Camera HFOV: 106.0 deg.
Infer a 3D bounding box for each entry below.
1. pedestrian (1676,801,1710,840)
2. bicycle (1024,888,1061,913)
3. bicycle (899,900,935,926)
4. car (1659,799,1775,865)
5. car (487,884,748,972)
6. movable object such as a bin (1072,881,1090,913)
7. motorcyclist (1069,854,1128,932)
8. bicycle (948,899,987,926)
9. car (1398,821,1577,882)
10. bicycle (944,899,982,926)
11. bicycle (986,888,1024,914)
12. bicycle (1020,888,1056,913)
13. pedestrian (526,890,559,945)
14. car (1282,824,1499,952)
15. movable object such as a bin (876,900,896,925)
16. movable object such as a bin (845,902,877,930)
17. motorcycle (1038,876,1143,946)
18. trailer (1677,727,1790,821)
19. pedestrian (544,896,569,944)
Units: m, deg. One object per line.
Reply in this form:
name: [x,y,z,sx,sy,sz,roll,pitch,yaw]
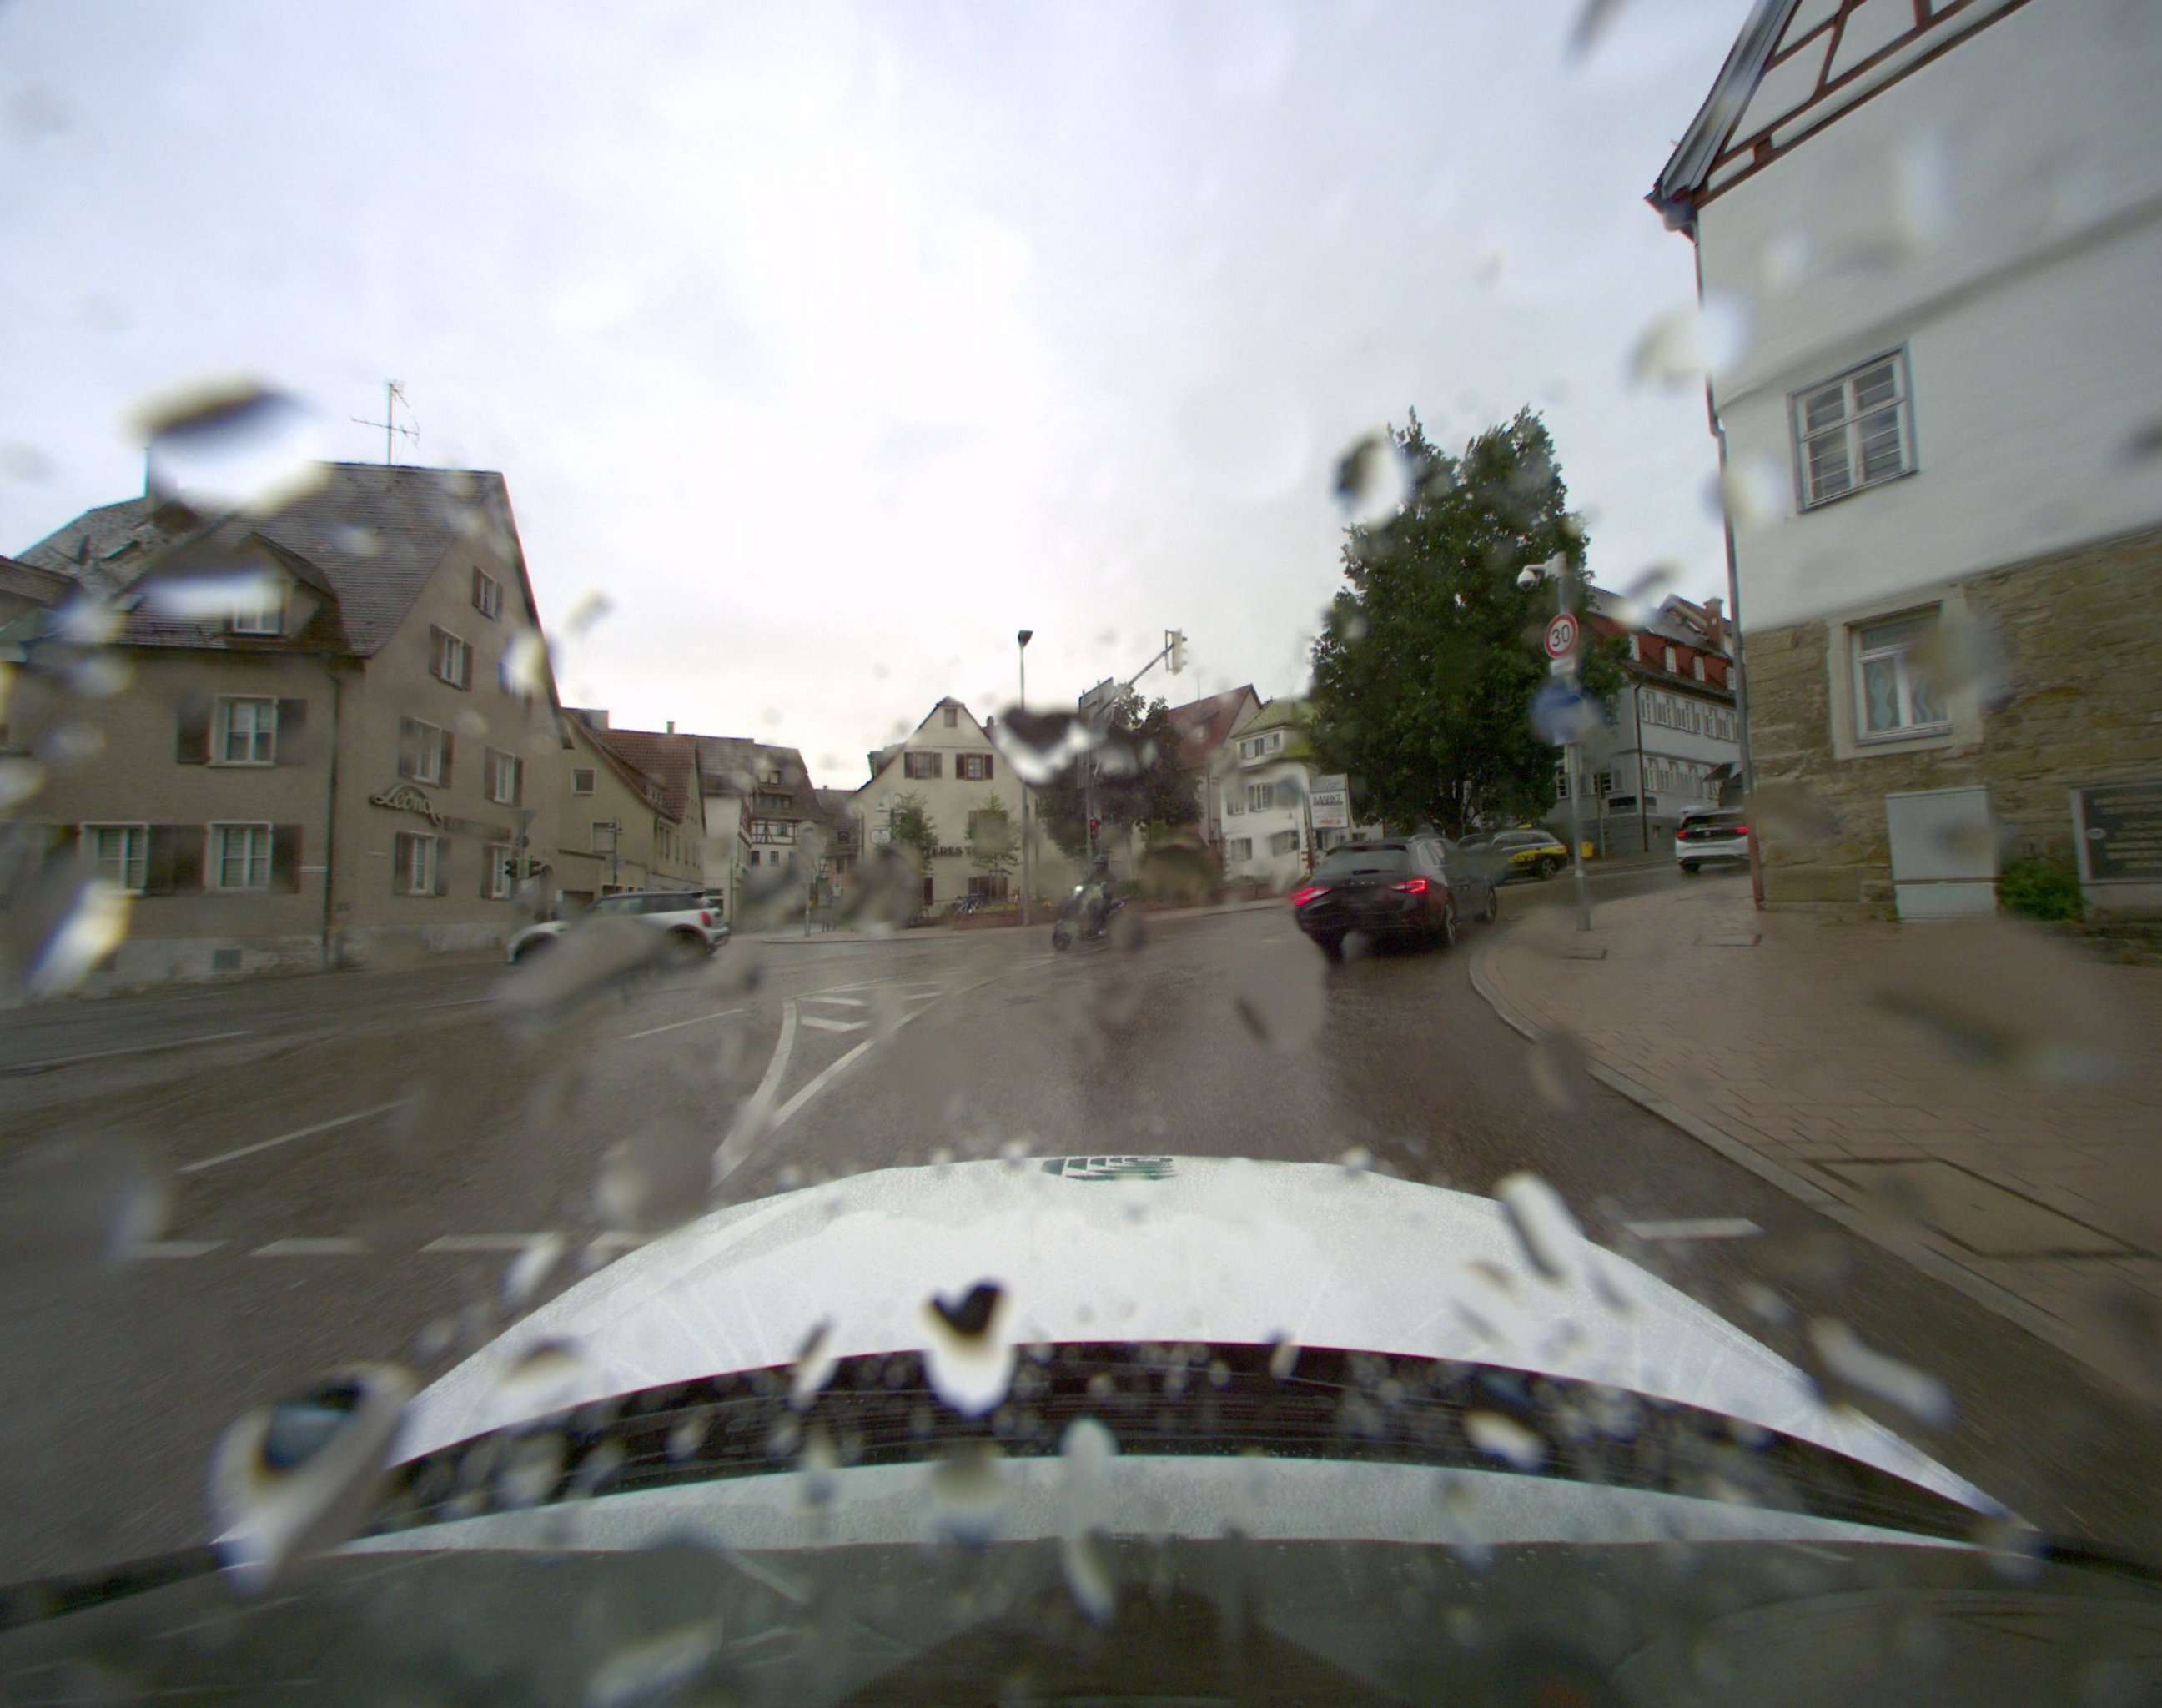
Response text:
pedestrian: [25.655,-1.411,34.148,1.048,1.530,0.703,-5,0,-28]
bicycle: [-1.542,1.836,32.485,1.475,0.912,0.388,-1,0,-33]
bicycle: [-5.945,2.124,29.610,0.334,0.818,1.446,-1,0,36]
car: [16.207,-0.517,20.686,1.839,1.473,4.024,-2,-1,44]
car: [-8.912,1.381,16.044,3.990,1.431,1.992,-1,-1,-12]
movable object such as a bin: [0.002,1.773,33.763,0.682,1.276,0.747,0,-2,-6]
motorcyclist: [0.309,0.693,14.685,0.801,1.354,0.672,-2,-2,42]
bicycle: [-4.222,2.168,30.406,1.478,0.912,0.388,-1,0,-45]
car: [11.156,-0.077,22.363,4.418,1.538,1.984,-1,-1,-23]
bicycle: [-4.445,2.204,30.851,1.478,0.912,0.388,-1,0,-45]
bicycle: [-2.973,1.839,31.938,1.475,0.912,0.388,-1,0,-33]
bicycle: [-1.733,1.866,32.860,1.475,0.912,0.388,-1,0,-33]
pedestrian: [-18.805,2.213,28.449,0.801,1.830,0.707,-4,-1,-30]
car: [4.632,0.351,11.739,1.868,1.448,4.385,-2,1,35]
movable object such as a bin: [-7.301,2.182,30.459,0.590,0.902,0.578,-1,-2,-31]
movable object such as a bin: [-7.823,2.205,28.986,0.717,0.927,0.792,-5,-5,22]
motorcycle: [0.201,0.993,14.540,0.761,1.131,1.928,-4,-3,41]
trailer: [26.988,-3.270,33.643,4.589,3.533,1.981,-3,0,-30]
pedestrian: [-19.195,2.411,29.800,0.553,1.729,0.536,-1,-4,-6]
